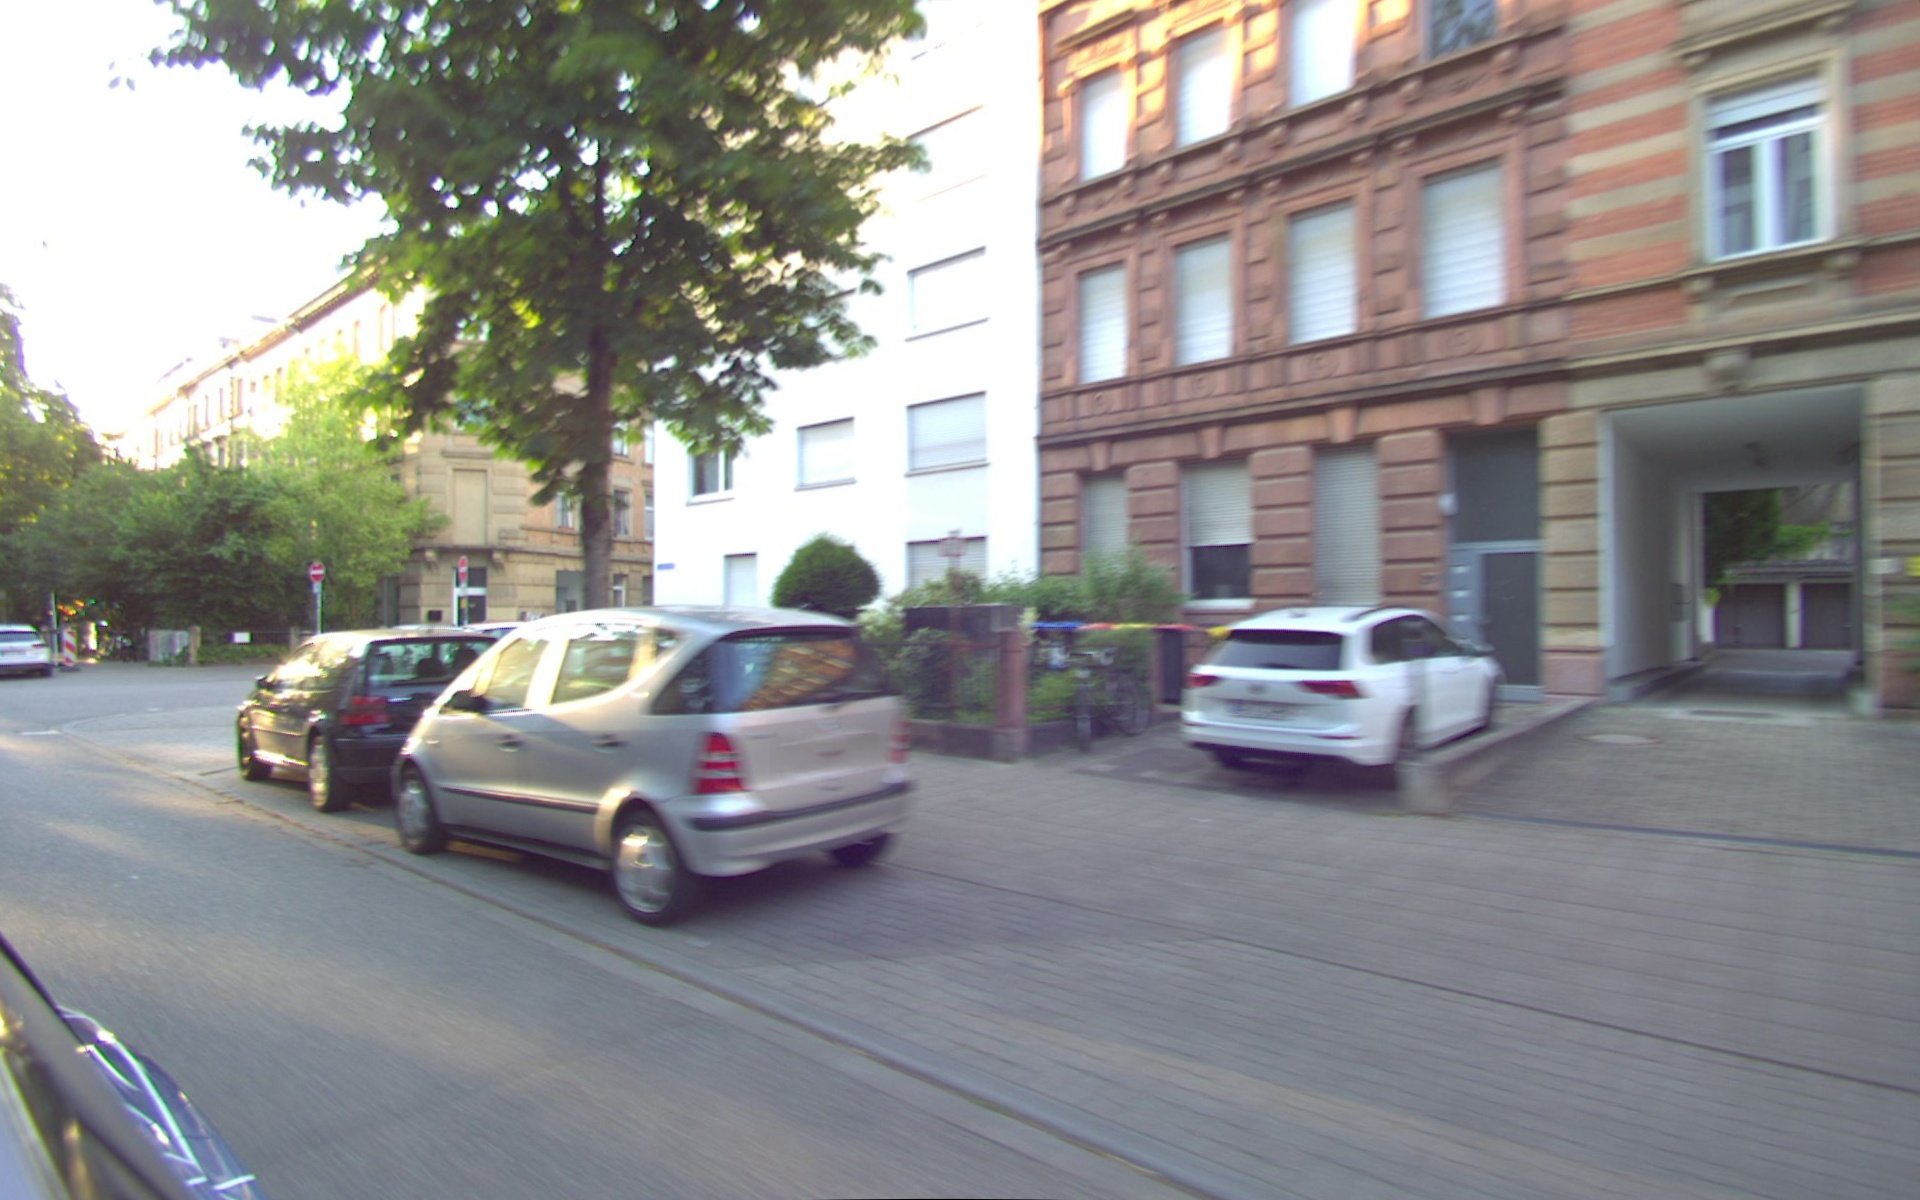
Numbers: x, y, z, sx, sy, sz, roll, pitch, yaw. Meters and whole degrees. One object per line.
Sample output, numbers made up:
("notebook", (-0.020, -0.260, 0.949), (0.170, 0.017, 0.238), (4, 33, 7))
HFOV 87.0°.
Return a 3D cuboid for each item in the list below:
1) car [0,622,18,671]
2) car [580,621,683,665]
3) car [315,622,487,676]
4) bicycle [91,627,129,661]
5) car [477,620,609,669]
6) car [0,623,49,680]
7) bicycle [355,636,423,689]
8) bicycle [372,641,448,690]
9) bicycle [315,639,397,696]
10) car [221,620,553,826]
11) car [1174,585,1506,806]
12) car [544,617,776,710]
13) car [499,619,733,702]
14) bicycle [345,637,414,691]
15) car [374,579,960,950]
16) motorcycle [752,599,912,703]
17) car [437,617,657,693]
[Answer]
("car", (-32.361, 1.528, 33.172), (4.400, 1.513, 1.672), (0, 1, 41))
("car", (-12.825, 1.661, 39.727), (1.698, 1.564, 3.845), (1, -1, 23))
("car", (-17.185, 1.495, 31.333), (1.703, 1.564, 4.419), (-2, -3, 31))
("bicycle", (-32.696, 1.677, 38.946), (0.597, 1.294, 2.493), (1, -2, -29))
("car", (-14.534, 1.521, 35.456), (1.702, 1.564, 4.064), (1, -1, 30))
("car", (-27.821, 1.474, 29.147), (4.734, 1.513, 1.673), (-2, 0, 40))
("bicycle", (-13.128, 1.422, 23.273), (1.664, 1.190, 0.242), (0, -1, 16))
("bicycle", (-12.910, 1.519, 23.748), (1.835, 1.118, 0.365), (0, -1, 16))
("bicycle", (-13.365, 1.479, 22.395), (1.861, 1.190, 0.336), (1, -1, 16))
("car", (-5.383, 0.939, 9.284), (3.962, 1.482, 1.598), (-2, -2, 44))
("car", (3.798, 0.700, 9.661), (1.708, 1.539, 4.052), (-1, 1, 40))
("car", (-5.273, 1.058, 17.935), (3.518, 1.458, 1.820), (0, -2, -40))
("car", (-6.812, 1.141, 20.209), (4.040, 1.458, 1.821), (0, -2, -39))
("bicycle", (-13.206, 1.452, 23.021), (1.664, 1.190, 0.242), (0, -1, 16))
("car", (-1.954, 0.761, 6.214), (3.739, 1.615, 1.580), (-1, -2, 38))
("motorcycle", (-2.132, 0.836, 17.270), (2.817, 1.651, 0.676), (1, -2, -41))
("car", (-8.755, 1.115, 21.631), (4.041, 1.458, 1.712), (0, -2, -40))
